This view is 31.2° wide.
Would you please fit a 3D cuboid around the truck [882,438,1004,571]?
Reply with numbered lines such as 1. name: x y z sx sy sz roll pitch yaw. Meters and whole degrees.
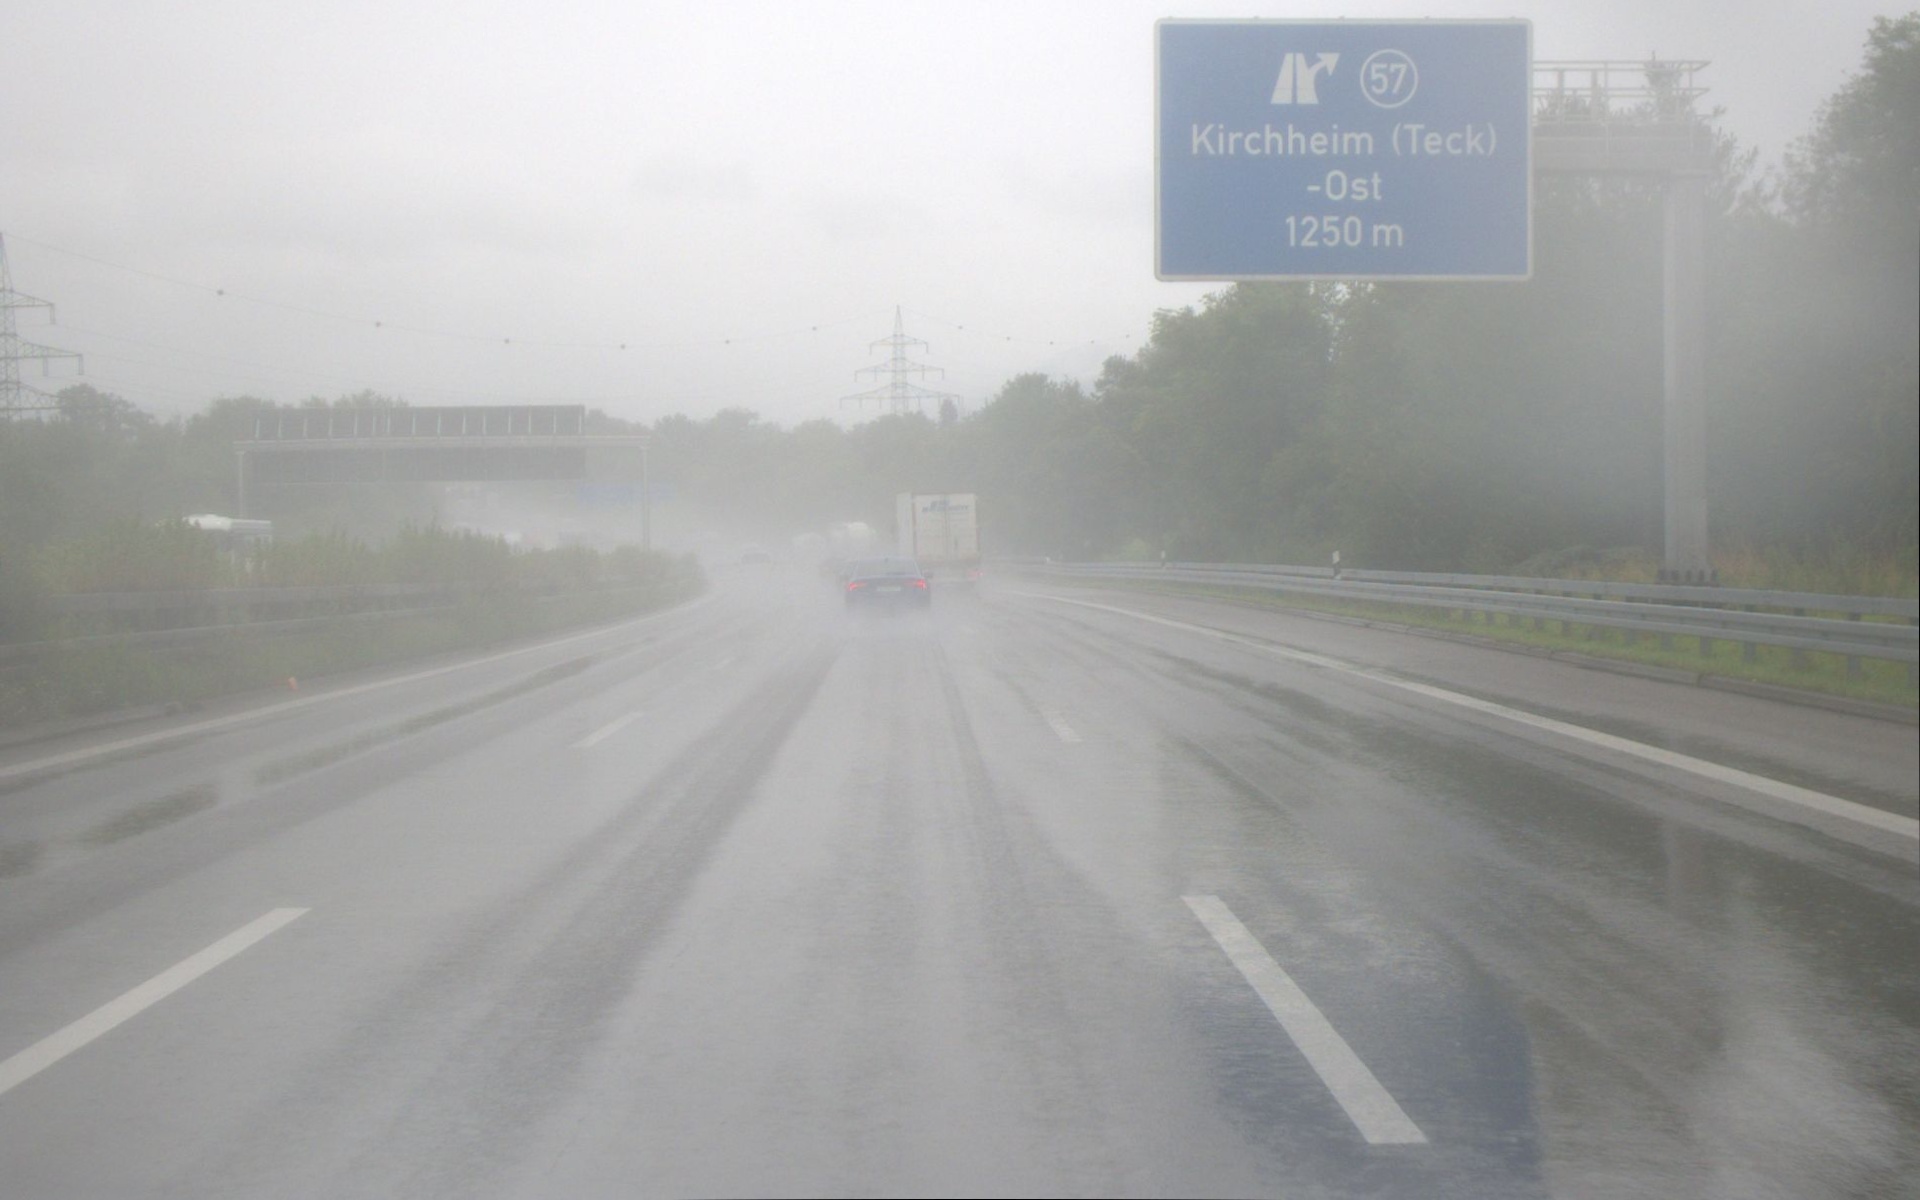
1. truck: -0.862 -3.915 142.059 4.256 4.955 17.343 -3 1 -2

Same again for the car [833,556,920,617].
1. car: -1.736 -0.303 71.826 1.748 1.208 4.000 1 1 -1
